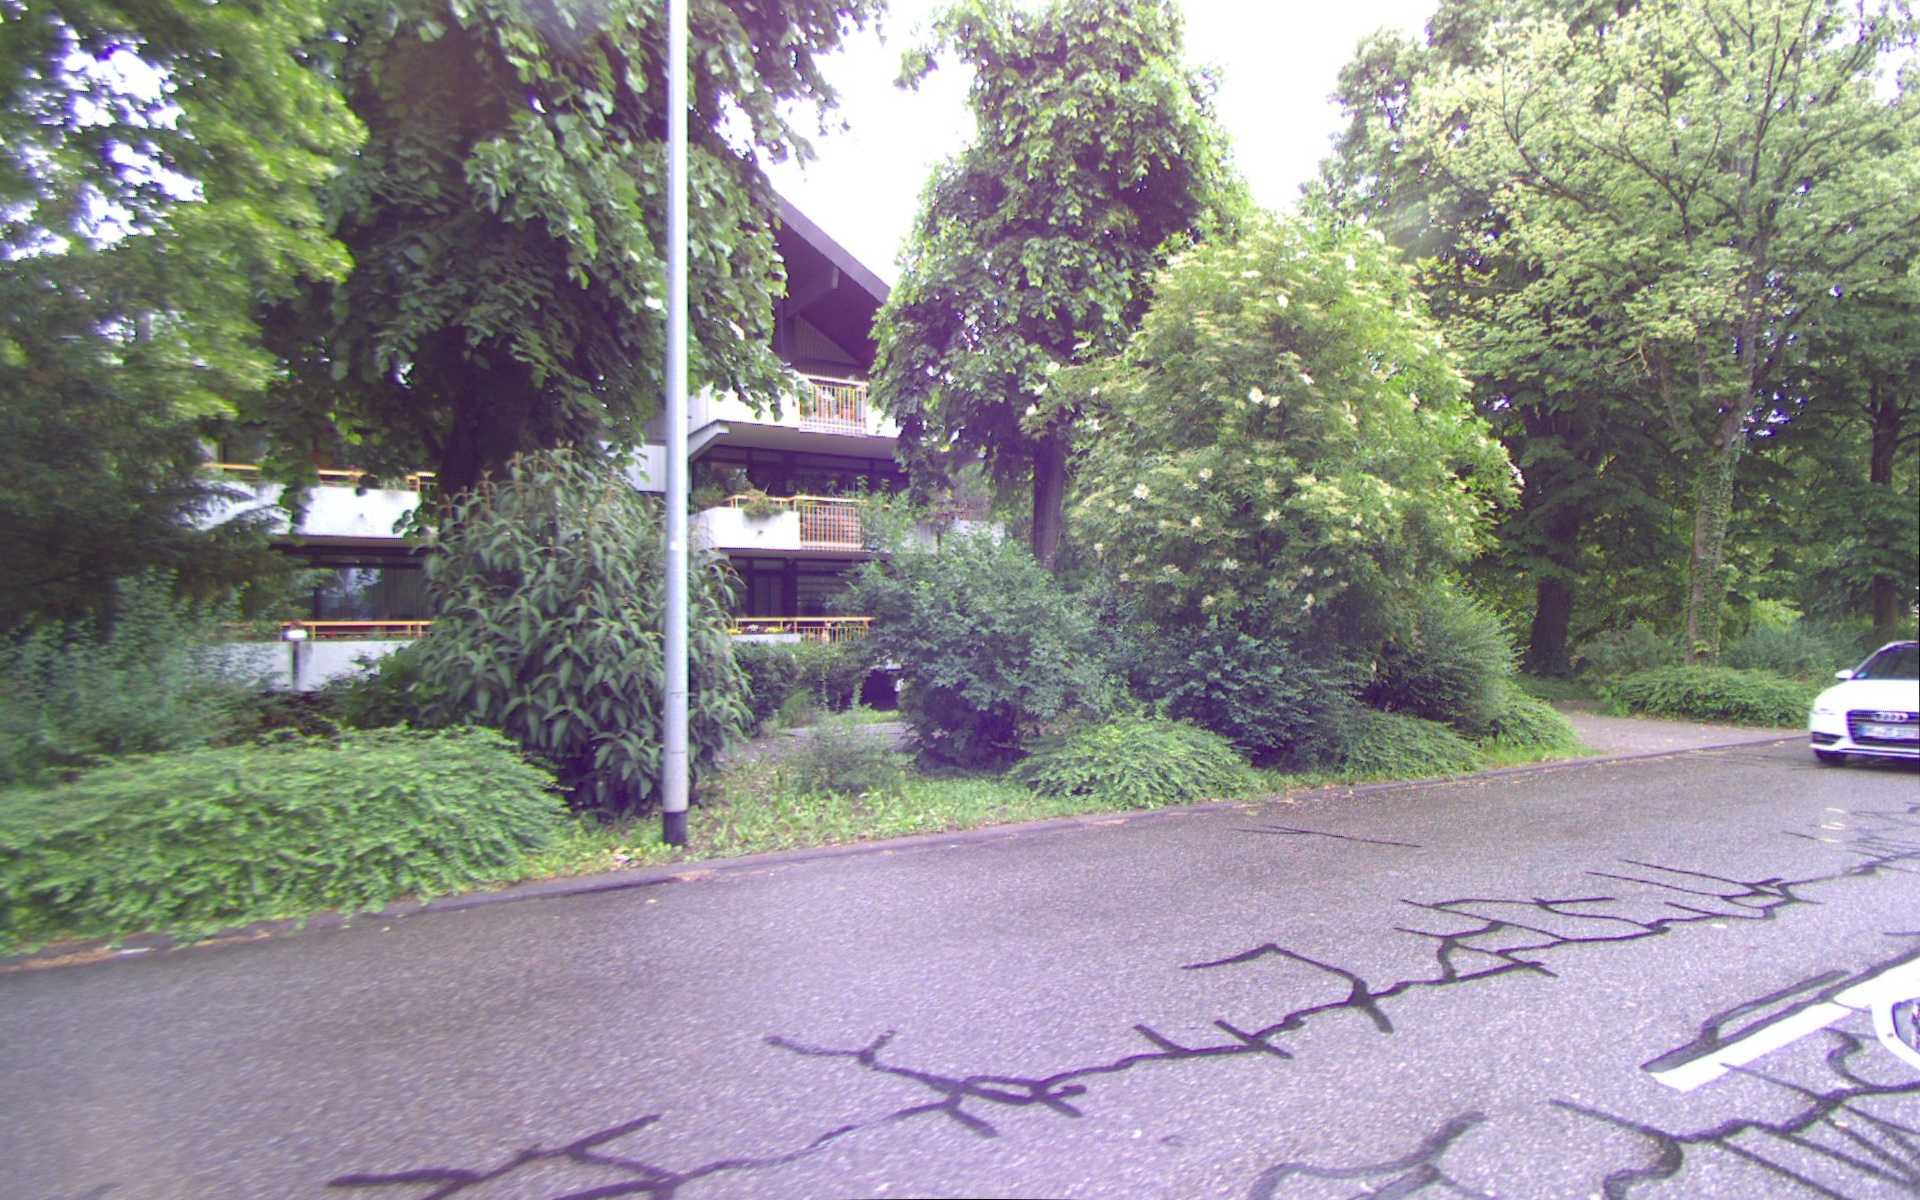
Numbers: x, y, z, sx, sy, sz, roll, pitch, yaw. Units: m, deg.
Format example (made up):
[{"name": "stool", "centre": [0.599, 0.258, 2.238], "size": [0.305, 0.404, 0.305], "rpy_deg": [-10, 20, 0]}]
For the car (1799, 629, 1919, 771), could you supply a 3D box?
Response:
[{"name": "car", "centre": [11.608, 1.083, 11.763], "size": [3.964, 1.446, 1.599], "rpy_deg": [0, -2, -32]}]
